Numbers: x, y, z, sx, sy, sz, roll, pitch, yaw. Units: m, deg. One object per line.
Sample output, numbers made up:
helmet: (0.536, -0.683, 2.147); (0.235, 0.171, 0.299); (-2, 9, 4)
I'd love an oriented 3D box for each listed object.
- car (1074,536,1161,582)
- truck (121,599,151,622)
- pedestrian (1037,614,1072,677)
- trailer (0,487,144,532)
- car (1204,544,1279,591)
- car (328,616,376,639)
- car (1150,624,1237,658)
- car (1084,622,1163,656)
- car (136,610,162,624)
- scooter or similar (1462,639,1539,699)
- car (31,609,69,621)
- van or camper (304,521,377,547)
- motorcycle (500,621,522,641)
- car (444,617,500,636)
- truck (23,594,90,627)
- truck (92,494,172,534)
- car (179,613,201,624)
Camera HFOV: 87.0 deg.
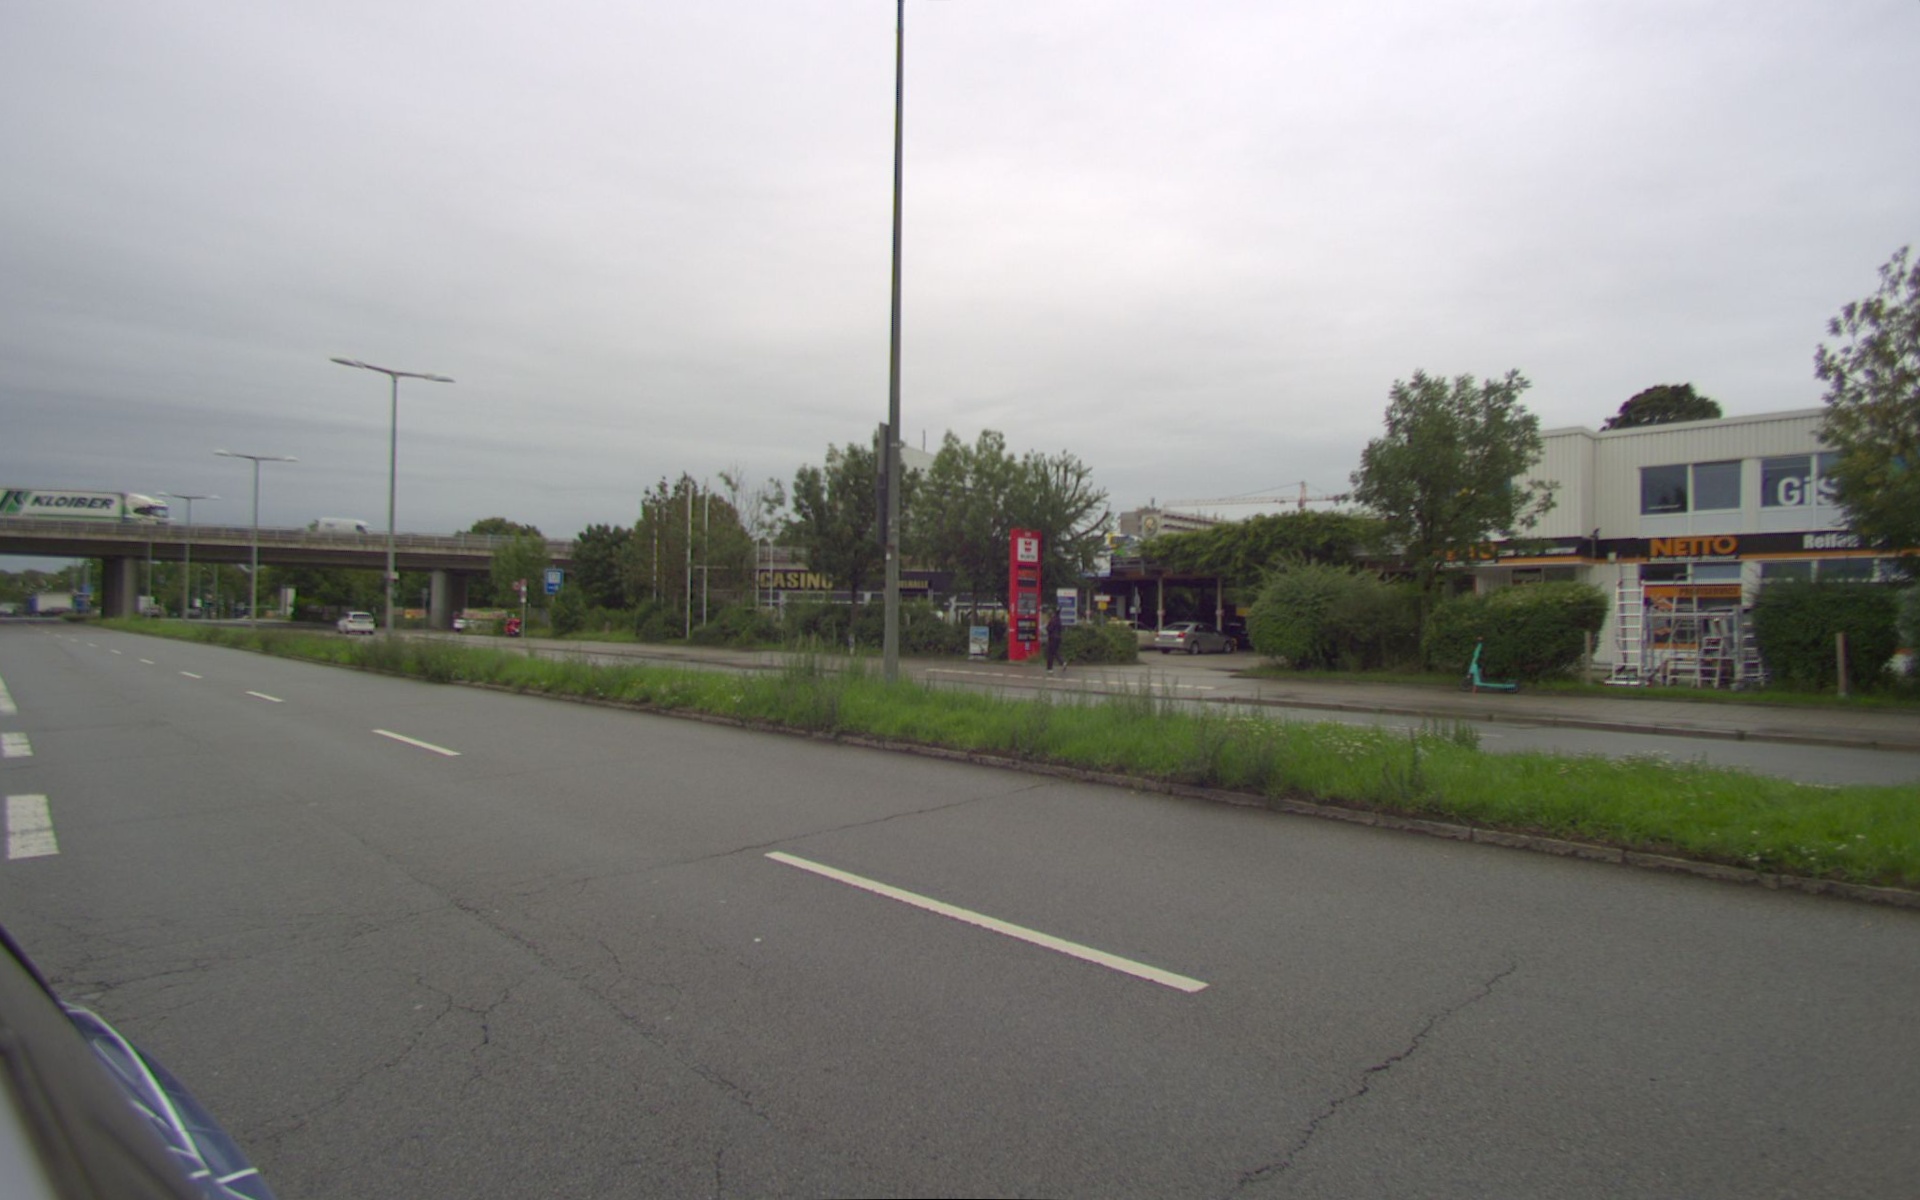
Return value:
car: (8.623, -2.230, 55.262); (4.725, 2.028, 2.137); (5, -2, -43)
truck: (-112.837, 1.463, 138.541); (2.227, 3.000, 7.237); (6, -5, -44)
pedestrian: (2.807, 1.342, 30.008); (0.615, 1.844, 0.818); (3, -3, -43)
trailer: (-84.035, -8.447, 93.826); (13.845, 3.323, 2.669); (3, -1, -5)
car: (17.052, -1.946, 61.175); (4.725, 2.387, 2.137); (5, -2, -43)
car: (-44.104, 1.978, 73.339); (1.970, 1.584, 4.578); (3, -2, -43)
car: (10.793, 1.865, 46.681); (3.935, 1.479, 1.867); (1, -1, -38)
car: (8.040, 1.889, 49.584); (1.910, 1.577, 3.941); (1, 0, 45)
car: (-102.523, 2.188, 127.928); (4.593, 1.595, 1.947); (1, -4, 44)
scooter or similar: (11.581, 1.458, 21.703); (1.388, 1.237, 0.440); (-1, -3, 45)
car: (-136.721, 2.272, 152.091); (4.545, 1.595, 1.967); (0, -3, 13)
van or camper: (-58.937, -6.266, 96.314); (5.423, 2.029, 2.334); (2, -1, -5)
motorcycle: (-28.725, 1.980, 64.734); (0.527, 1.185, 2.197); (3, -2, -44)
car: (-41.926, 2.290, 87.052); (1.975, 1.584, 5.111); (1, -2, 5)
truck: (-141.462, 1.614, 158.436); (9.513, 4.626, 2.786); (2, -3, 15)
truck: (-77.217, -8.001, 94.461); (5.115, 3.270, 2.600); (3, -1, -5)
car: (-107.831, 2.555, 141.703); (1.945, 1.407, 4.822); (4, -2, -42)
